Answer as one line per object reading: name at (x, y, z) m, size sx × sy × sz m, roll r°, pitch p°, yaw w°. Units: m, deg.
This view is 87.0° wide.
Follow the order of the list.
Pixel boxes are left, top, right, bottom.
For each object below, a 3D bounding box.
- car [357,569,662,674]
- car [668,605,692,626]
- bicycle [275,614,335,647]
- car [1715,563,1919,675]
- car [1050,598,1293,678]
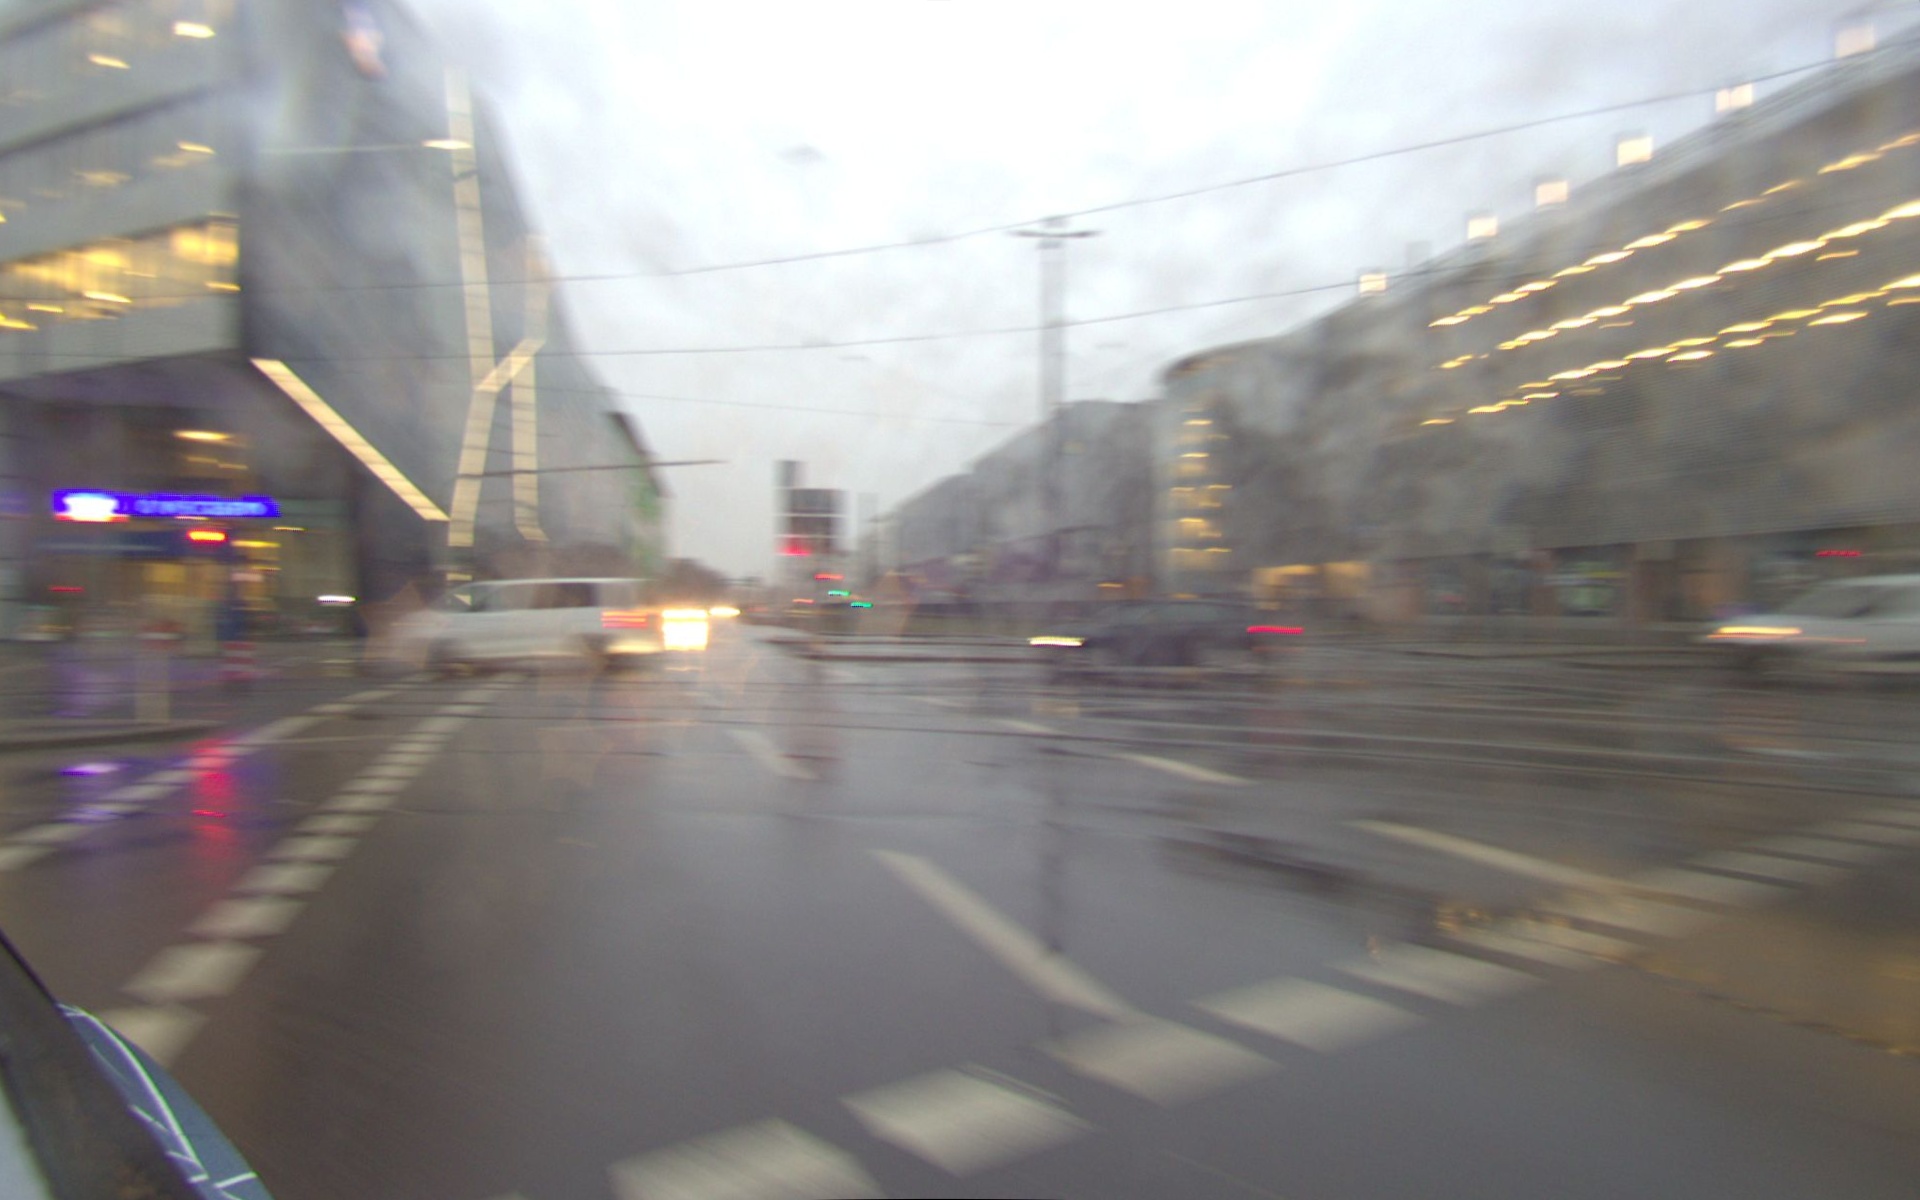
car at (-9.327, 0.435, 21.312) m, size 5.580 × 2.074 × 1.954 m, roll 0°, pitch -1°, yaw -1°
car at (-23.444, 1.296, 84.871) m, size 1.804 × 1.674 × 4.010 m, roll 0°, pitch -1°, yaw -13°
bicycle at (-22.308, 1.018, 34.483) m, size 1.575 × 1.078 × 0.644 m, roll -1°, pitch -1°, yaw -12°
car at (15.405, 0.301, 16.586) m, size 4.589 × 1.732 × 1.911 m, roll -1°, pitch -1°, yaw 29°
car at (3.976, 0.715, 19.463) m, size 4.374 × 1.455 × 1.624 m, roll 0°, pitch -1°, yaw 10°
